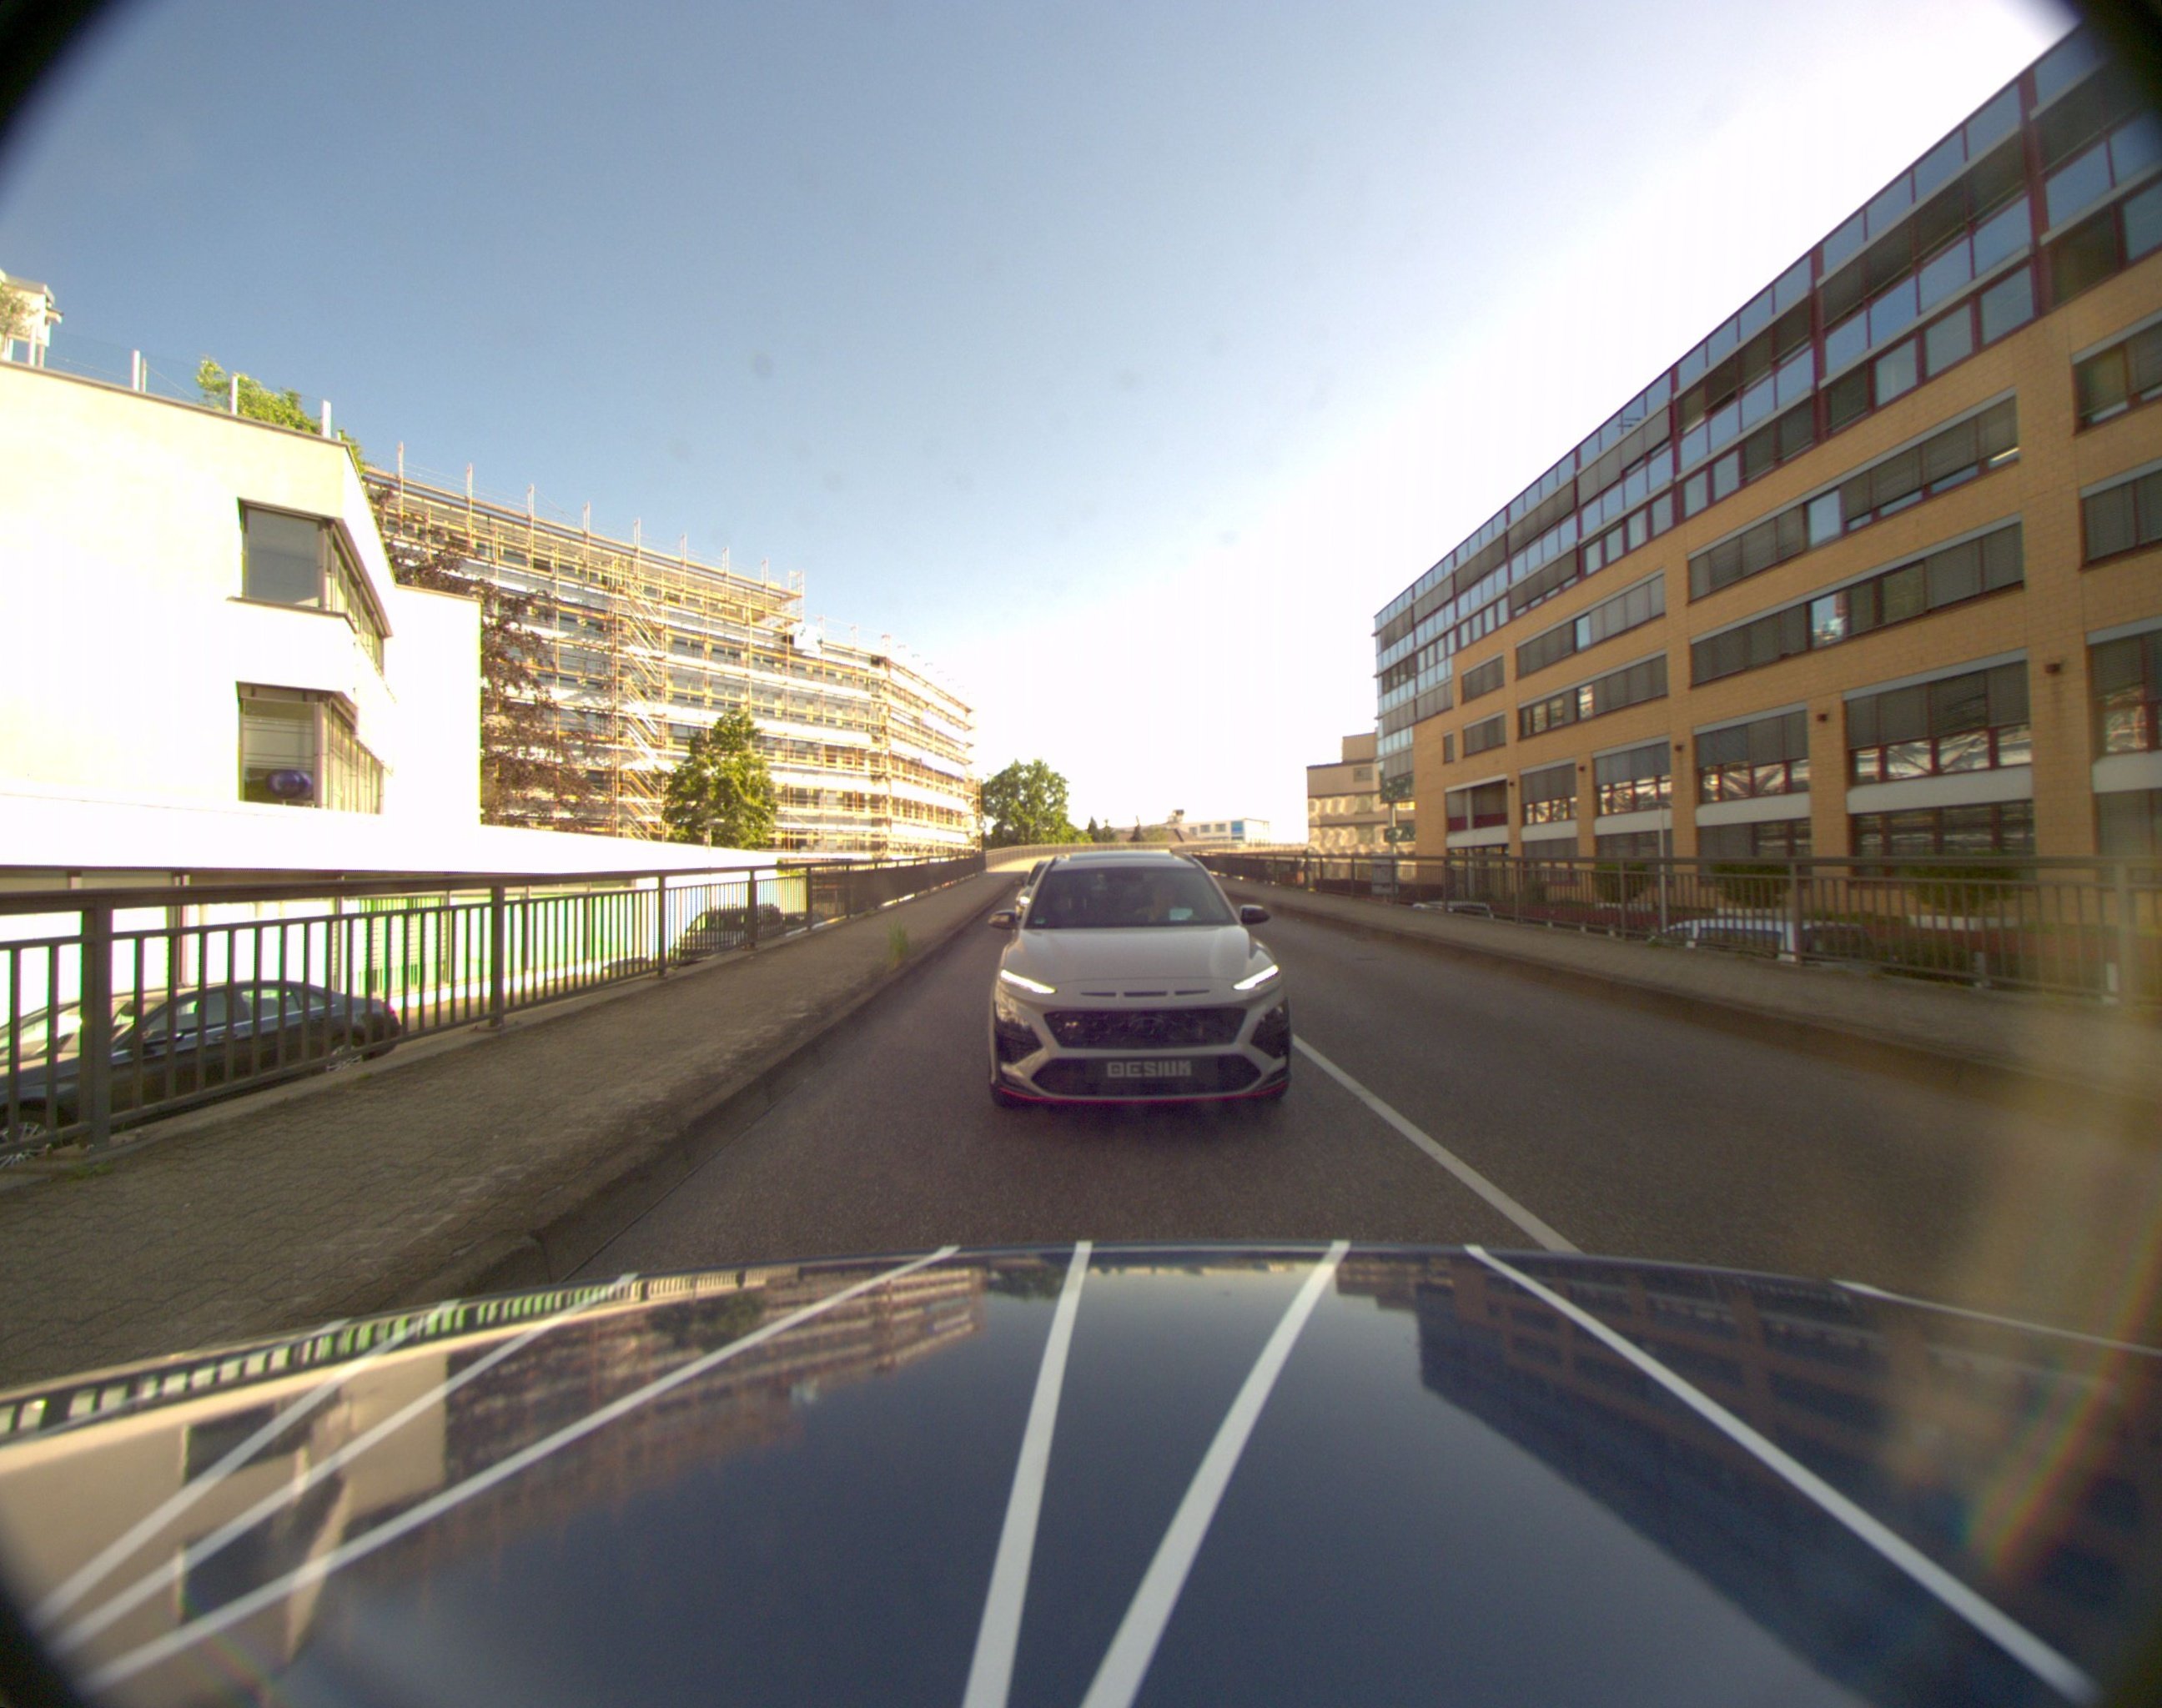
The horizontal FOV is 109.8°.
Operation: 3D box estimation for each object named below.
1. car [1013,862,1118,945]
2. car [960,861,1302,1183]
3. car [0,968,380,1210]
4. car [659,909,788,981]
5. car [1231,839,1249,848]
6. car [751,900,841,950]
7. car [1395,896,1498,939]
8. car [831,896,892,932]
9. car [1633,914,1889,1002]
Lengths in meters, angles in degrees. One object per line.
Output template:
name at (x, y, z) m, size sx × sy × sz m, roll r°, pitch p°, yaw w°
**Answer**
car at (-0.333, 0.928, 15.838) m, size 1.902 × 1.433 × 4.126 m, roll 0°, pitch 0°, yaw -1°
car at (0.282, 0.887, 5.895) m, size 1.749 × 1.637 × 4.001 m, roll 0°, pitch -1°, yaw 1°
car at (-9.603, 2.169, 7.420) m, size 1.726 × 1.513 × 4.001 m, roll -2°, pitch -1°, yaw 1°
car at (-9.914, 2.473, 21.431) m, size 1.726 × 1.513 × 4.000 m, roll -2°, pitch -1°, yaw -1°
car at (27.971, -1.893, 133.501) m, size 1.947 × 1.456 × 4.007 m, roll 4°, pitch 3°, yaw 30°
car at (-10.095, 2.480, 27.219) m, size 1.726 × 1.383 × 4.000 m, roll -2°, pitch -1°, yaw -1°
car at (12.737, 2.192, 26.763) m, size 1.766 × 1.261 × 3.809 m, roll 0°, pitch -1°, yaw -1°
car at (-10.218, 2.776, 35.679) m, size 1.726 × 1.383 × 4.000 m, roll -2°, pitch -1°, yaw -1°
car at (13.043, 1.938, 14.924) m, size 1.580 × 1.261 × 3.809 m, roll 0°, pitch -1°, yaw -1°
